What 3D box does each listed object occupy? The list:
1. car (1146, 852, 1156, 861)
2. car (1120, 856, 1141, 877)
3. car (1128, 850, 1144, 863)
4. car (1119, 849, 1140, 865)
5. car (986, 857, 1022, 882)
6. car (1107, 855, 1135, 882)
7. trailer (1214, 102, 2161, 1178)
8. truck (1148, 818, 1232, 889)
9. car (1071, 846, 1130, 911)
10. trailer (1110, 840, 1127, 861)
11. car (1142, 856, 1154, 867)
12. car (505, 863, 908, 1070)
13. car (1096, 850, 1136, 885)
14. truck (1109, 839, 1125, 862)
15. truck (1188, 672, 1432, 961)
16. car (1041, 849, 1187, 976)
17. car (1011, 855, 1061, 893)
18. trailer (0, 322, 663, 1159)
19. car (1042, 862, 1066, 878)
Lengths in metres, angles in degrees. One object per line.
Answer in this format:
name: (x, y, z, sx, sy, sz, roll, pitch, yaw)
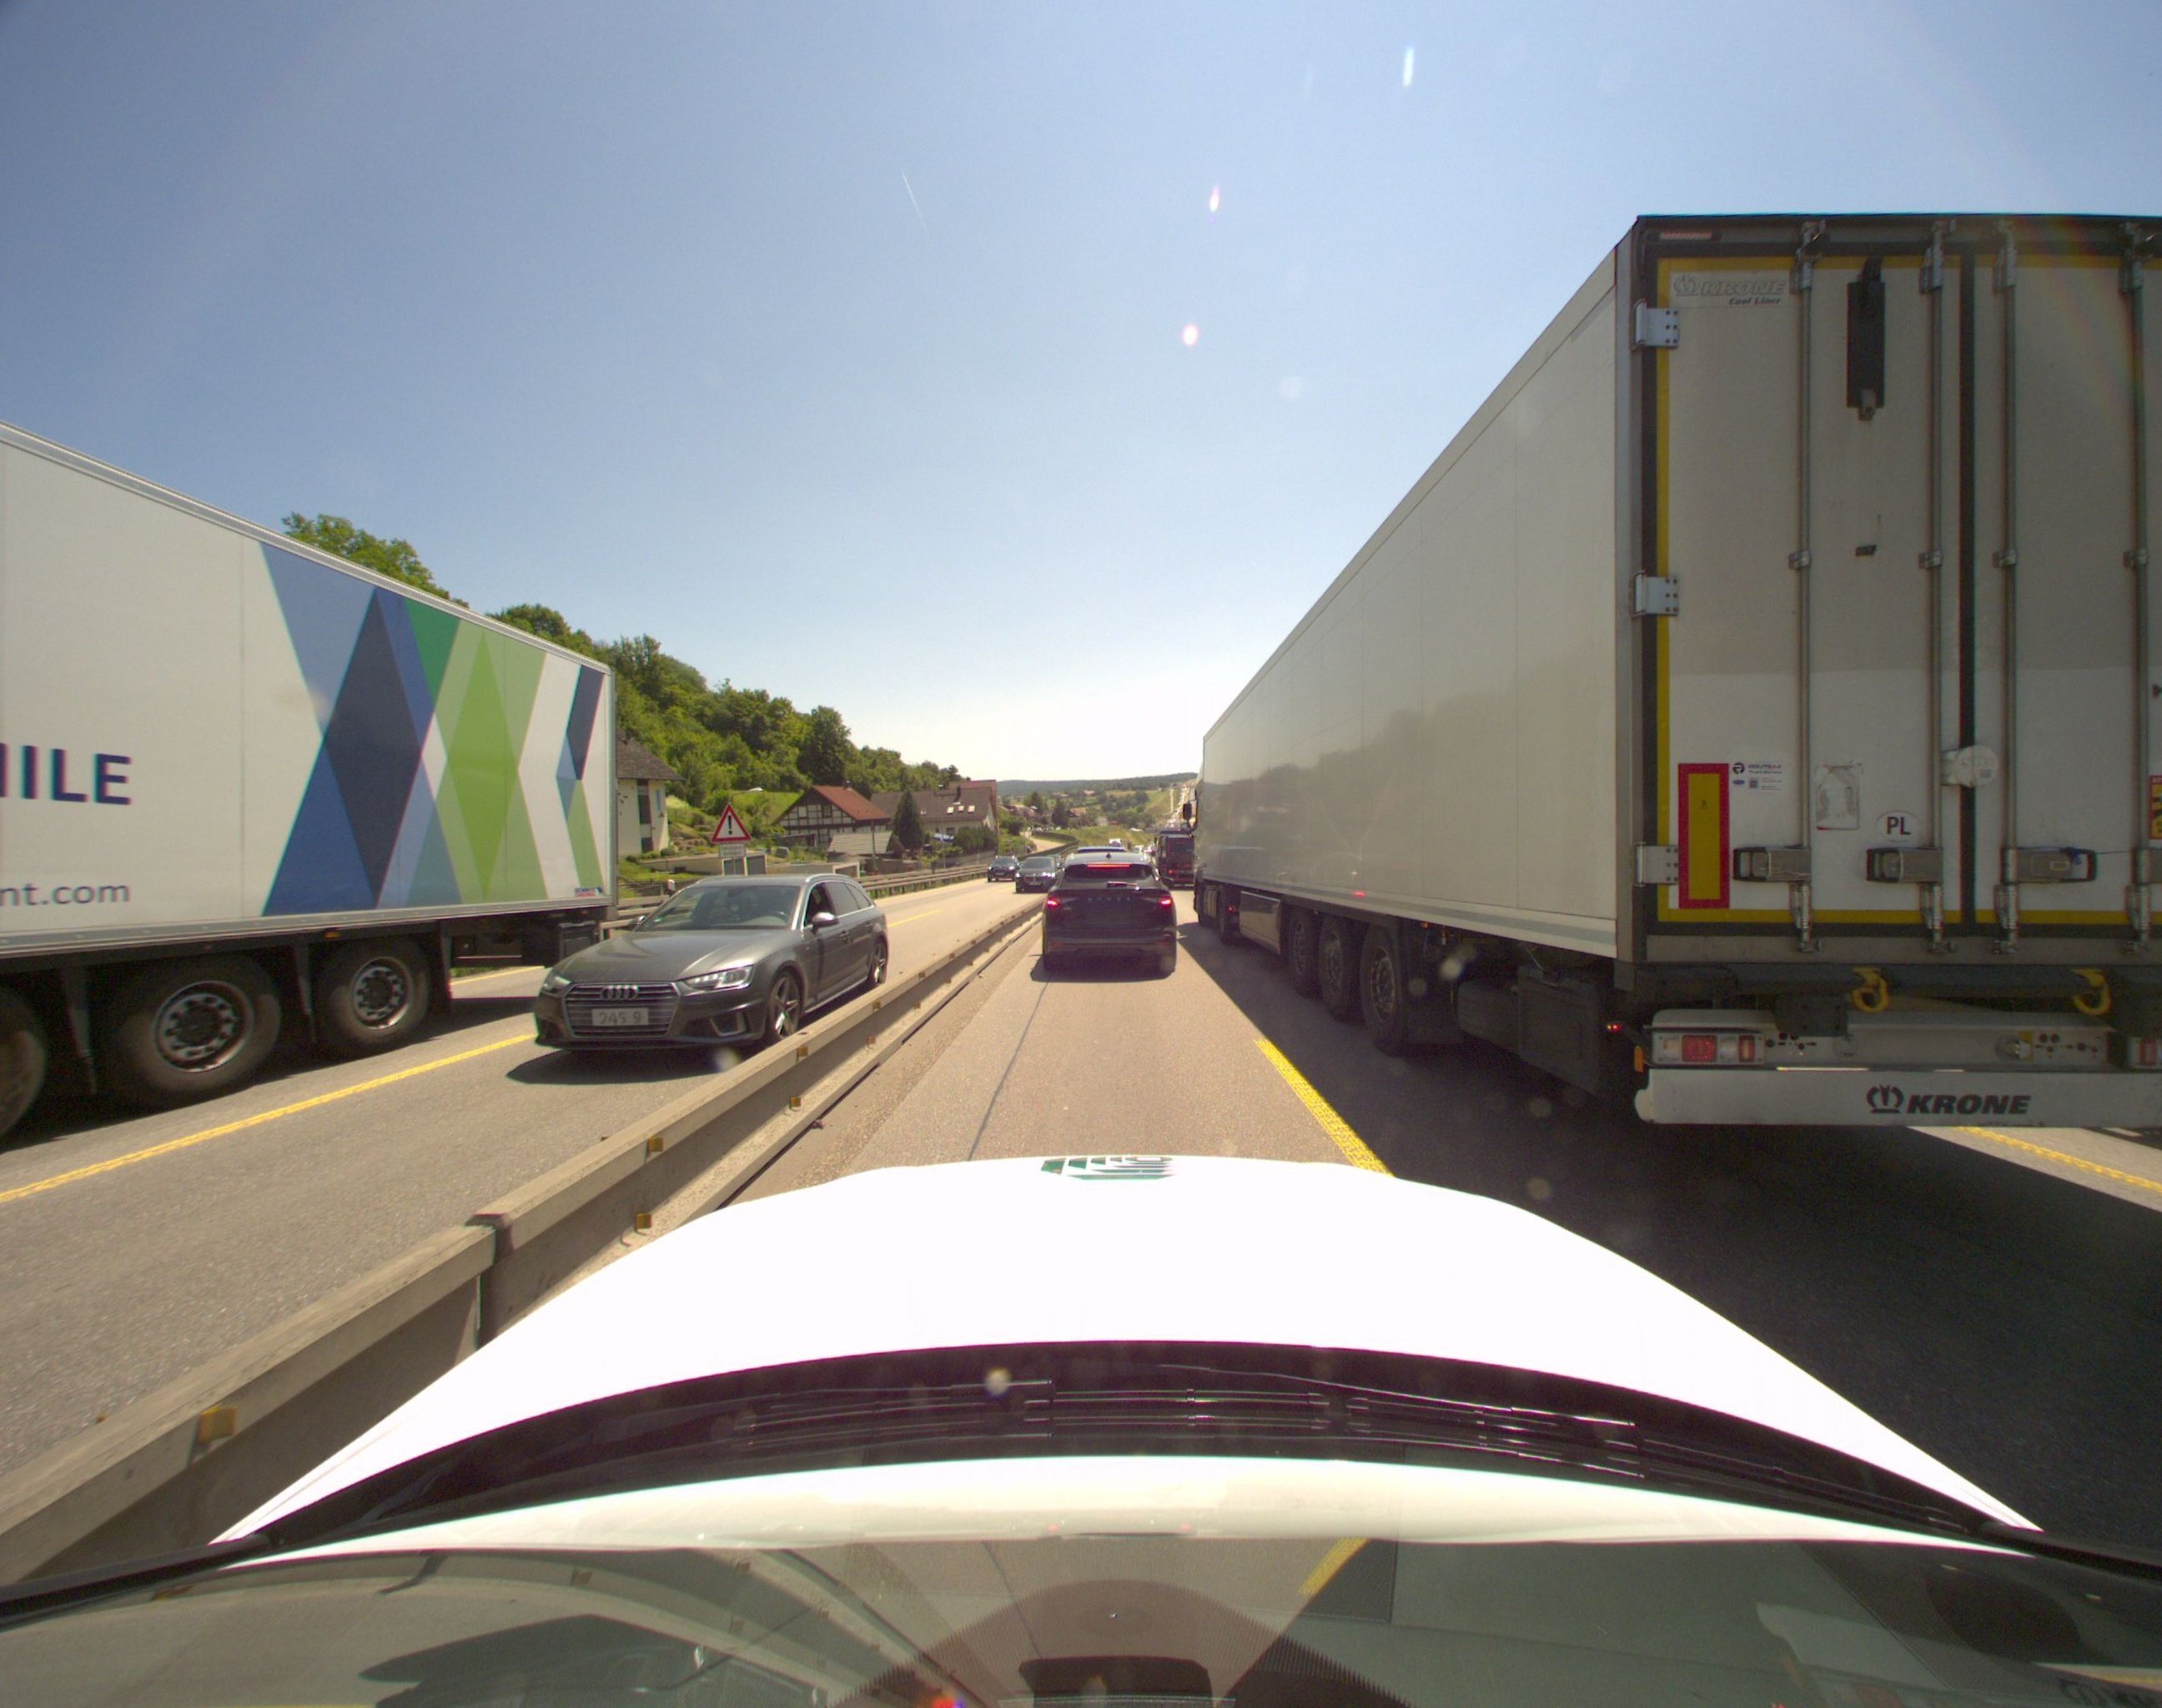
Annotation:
car: (13.976, 0.577, 162.197, 1.692, 1.728, 3.843, 0, -1, 7)
car: (4.172, 1.044, 69.466, 1.700, 1.622, 4.002, 0, 0, 2)
car: (6.811, 0.353, 101.344, 1.985, 1.585, 3.839, 0, -1, 3)
car: (4.897, 0.308, 82.081, 1.985, 1.585, 3.839, 0, -1, 3)
car: (-4.635, 0.959, 49.599, 1.699, 1.465, 3.682, 0, -1, 2)
car: (2.542, 0.881, 52.346, 1.700, 1.622, 4.002, 0, 0, 2)
trailer: (3.517, -0.740, 8.880, 2.522, 4.127, 11.550, 0, -1, 1)
truck: (5.471, 0.104, 43.474, 3.183, 3.191, 12.813, -1, -1, 2)
car: (0.538, 0.696, 25.660, 1.702, 1.881, 3.998, 0, 0, -1)
trailer: (7.531, -0.810, 163.185, 2.743, 4.070, 8.023, 0, 1, 7)
car: (10.350, 1.154, 126.554, 1.692, 1.728, 3.843, 0, -1, 7)
car: (-3.227, 0.860, 8.246, 1.783, 1.453, 4.636, -2, -1, 2)
car: (1.652, 0.604, 39.410, 1.702, 1.622, 3.998, 0, 0, -1)
truck: (7.021, -0.654, 158.314, 2.738, 4.283, 4.965, 0, 0, 6)
truck: (3.712, -0.452, 15.443, 2.504, 4.025, 8.239, 0, -1, 2)
car: (0.372, 0.770, 12.199, 1.837, 1.586, 3.905, 0, -1, -1)
car: (-1.995, 0.897, 37.132, 1.812, 1.586, 4.161, 1, -1, 2)
trailer: (-7.294, -0.605, 3.574, 3.240, 4.379, 14.062, 0, -1, 2)
car: (-2.537, 1.476, 77.407, 1.834, 1.418, 4.689, -2, -1, 2)
